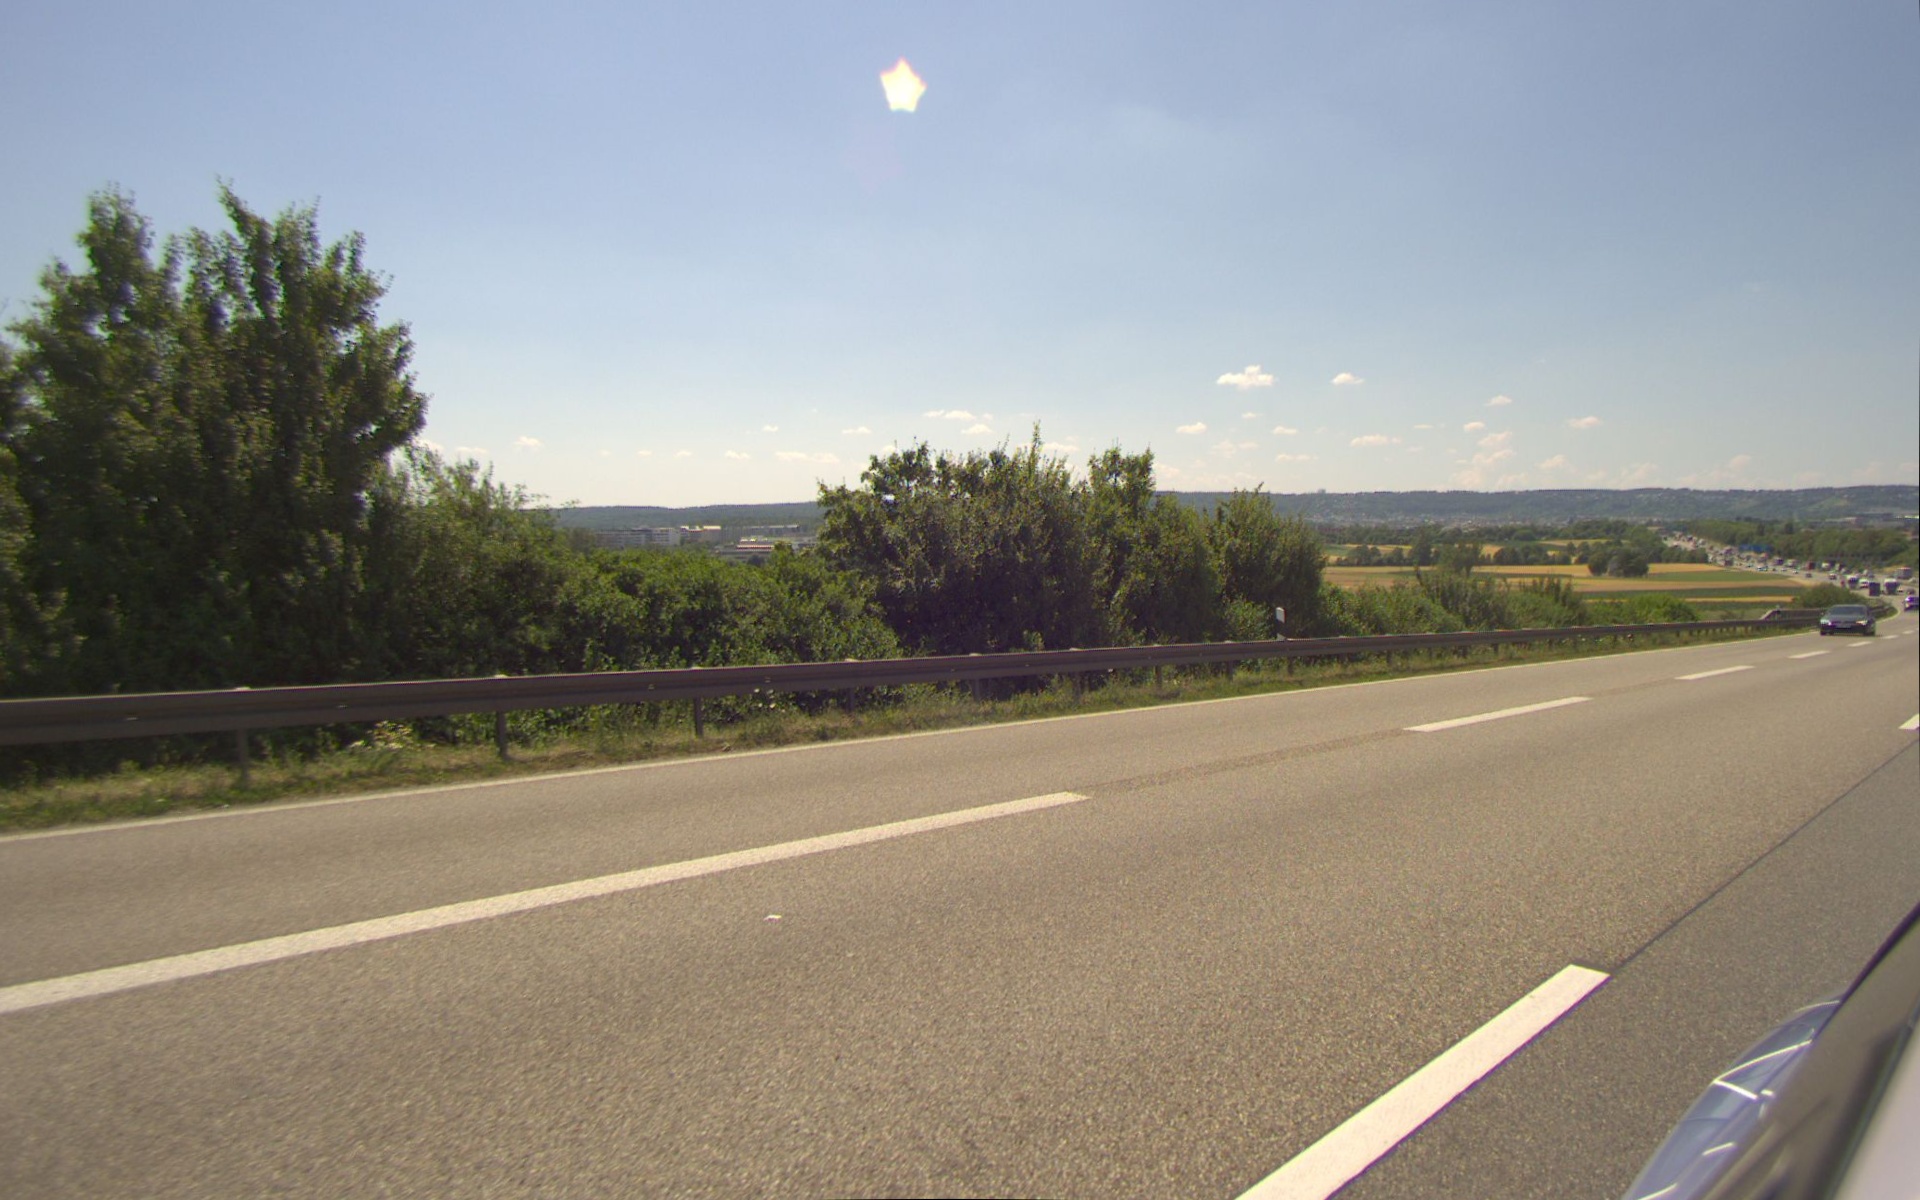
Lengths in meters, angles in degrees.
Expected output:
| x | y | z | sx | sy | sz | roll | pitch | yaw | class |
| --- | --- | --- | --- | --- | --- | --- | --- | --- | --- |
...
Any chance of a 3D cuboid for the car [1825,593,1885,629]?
| x | y | z | sx | sy | sz | roll | pitch | yaw | class |
| --- | --- | --- | --- | --- | --- | --- | --- | --- | --- |
| 41.915 | 0.474 | 47.419 | 2.030 | 1.571 | 3.940 | 1 | 0 | 42 | car |
